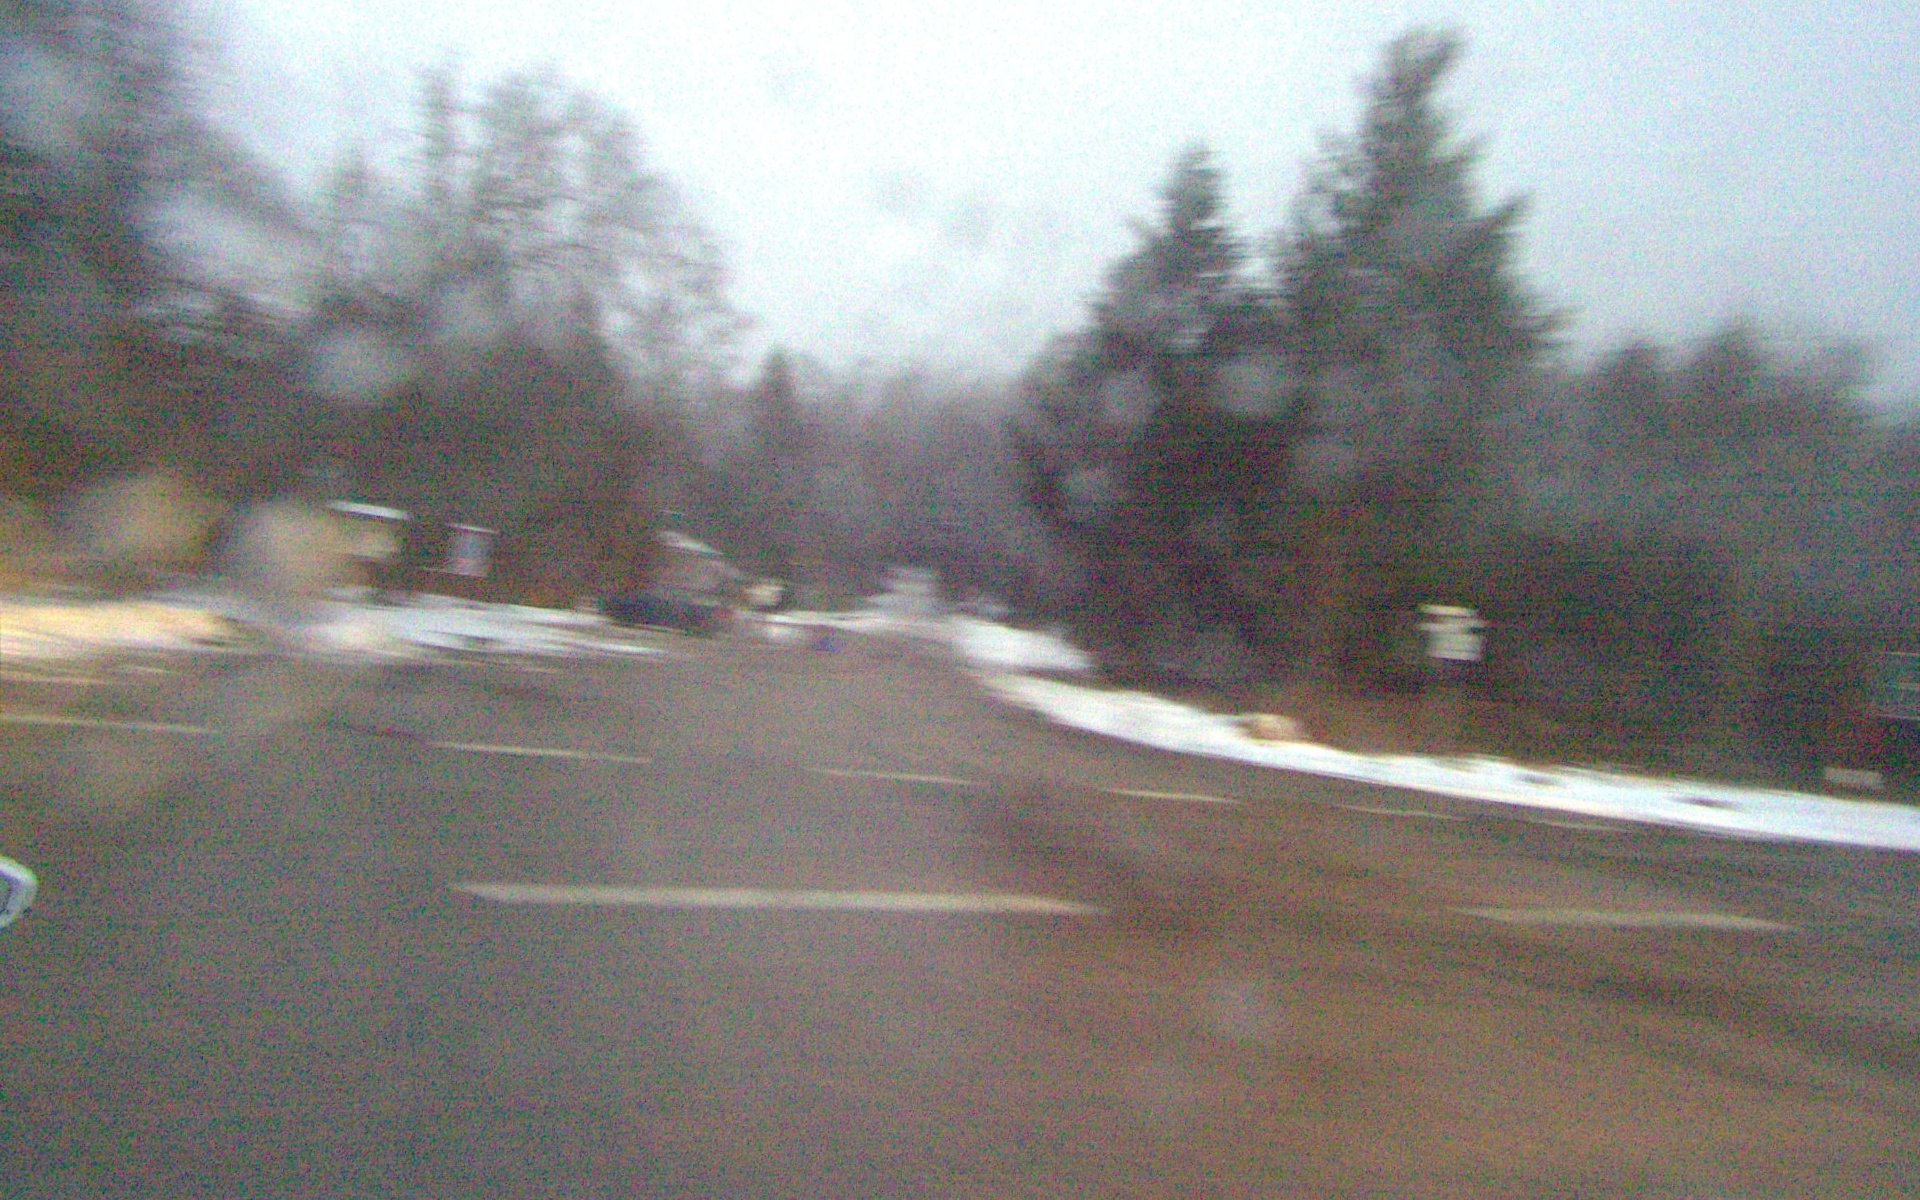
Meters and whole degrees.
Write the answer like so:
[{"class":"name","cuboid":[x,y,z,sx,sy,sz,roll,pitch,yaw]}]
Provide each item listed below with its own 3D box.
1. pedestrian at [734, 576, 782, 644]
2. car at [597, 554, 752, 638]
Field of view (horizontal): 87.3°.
[{"class":"pedestrian","cuboid":[-5.965,0.303,29.796,0.945,1.849,0.926,8,-1,6]},{"class":"car","cuboid":[-8.542,-0.087,30.389,3.887,1.902,2.002,8,-2,1]}]
